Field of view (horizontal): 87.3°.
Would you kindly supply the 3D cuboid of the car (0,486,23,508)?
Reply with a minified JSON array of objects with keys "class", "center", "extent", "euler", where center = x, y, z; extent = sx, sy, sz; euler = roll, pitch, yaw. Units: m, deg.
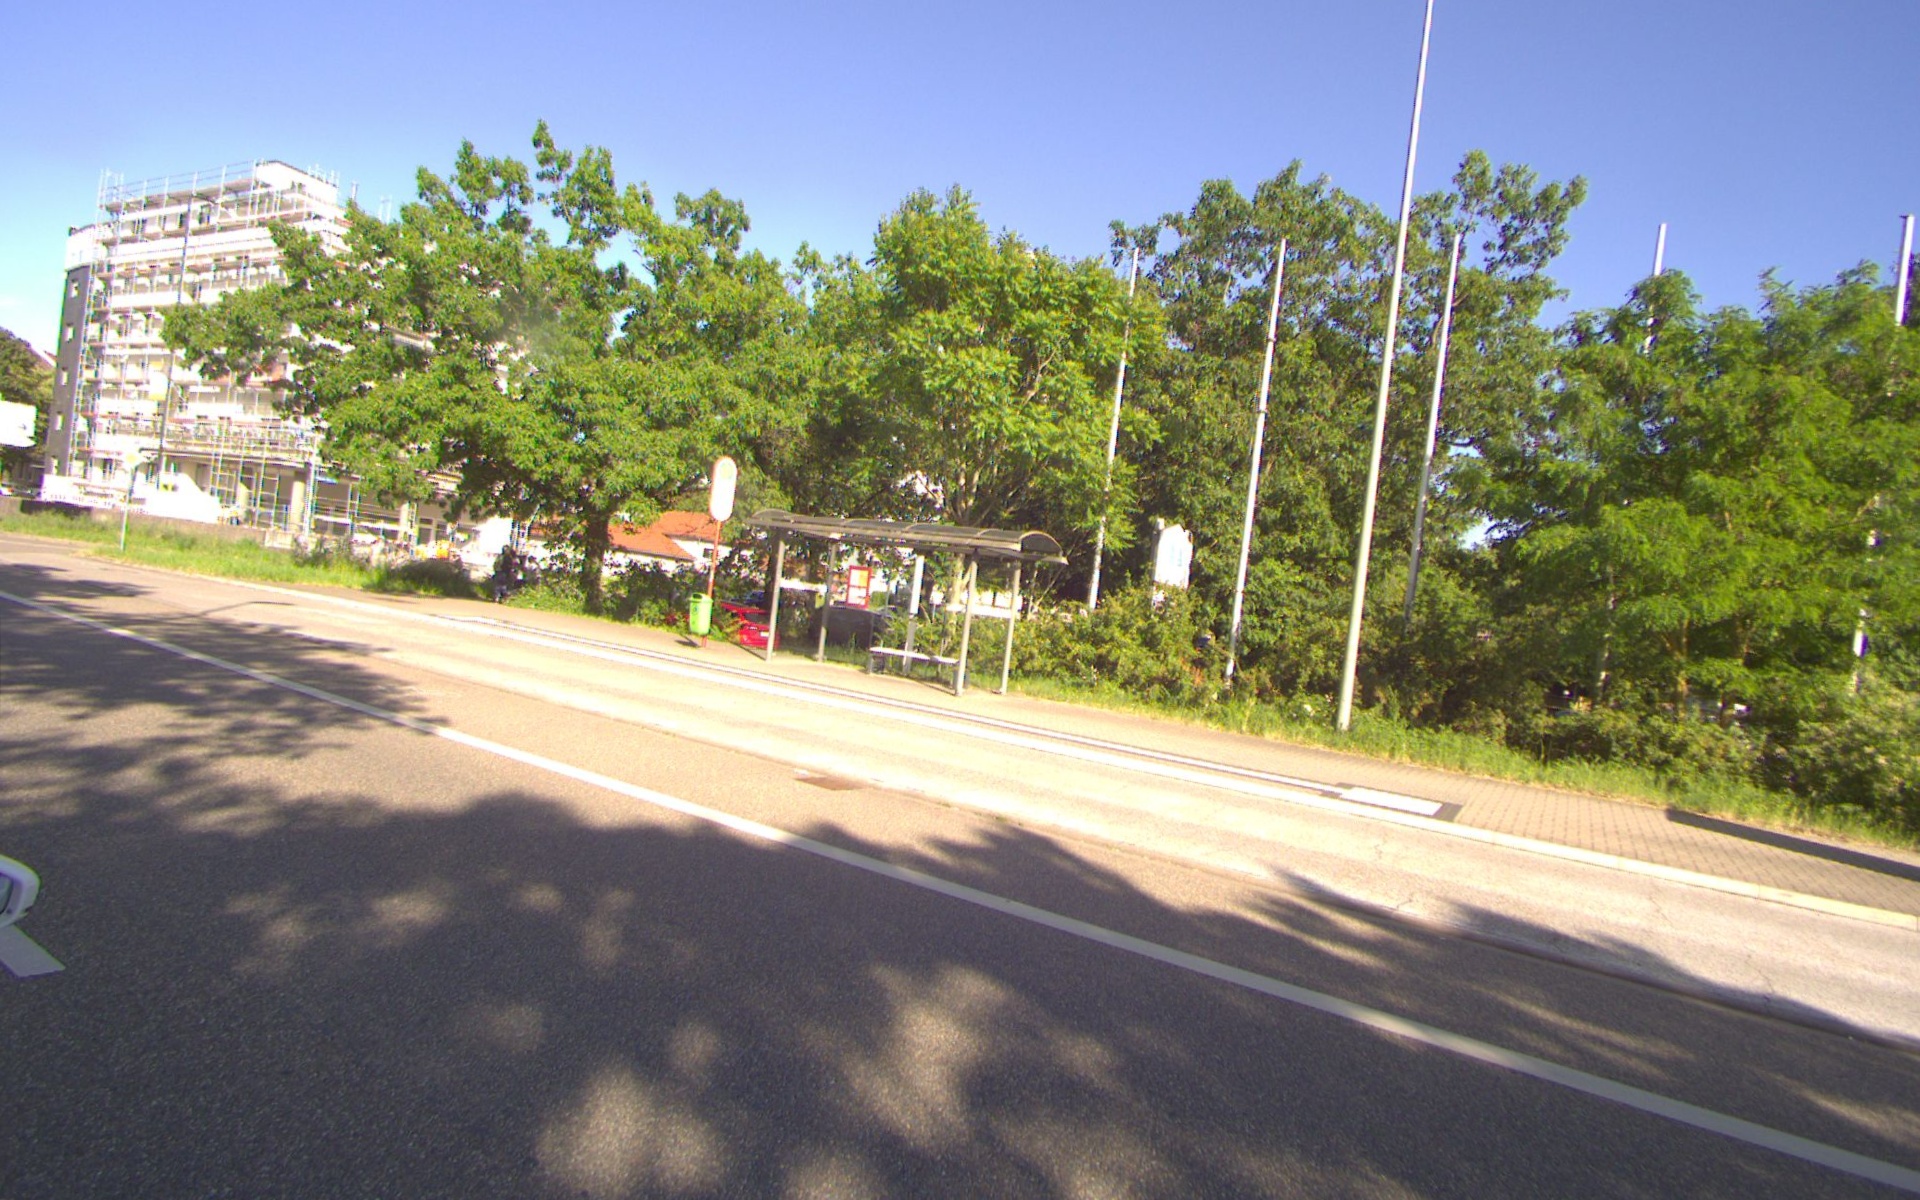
[{"class":"car","center":[-66.605,-7.214,70.163],"extent":[1.521,1.330,3.250],"euler":[7,0,-40]}]

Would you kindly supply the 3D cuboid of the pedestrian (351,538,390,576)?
[{"class":"pedestrian","center":[-25.416,-1.861,43.374],"extent":[0.948,1.465,0.895],"euler":[7,0,17]}]

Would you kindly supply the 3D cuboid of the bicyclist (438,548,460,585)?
[{"class":"bicyclist","center":[-22.233,-1.471,43.743],"extent":[0.582,1.511,0.543],"euler":[7,1,-43]}]

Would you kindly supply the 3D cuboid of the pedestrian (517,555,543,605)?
[{"class":"pedestrian","center":[-13.395,-0.634,31.325],"extent":[0.517,1.465,0.587],"euler":[7,1,-32]}]

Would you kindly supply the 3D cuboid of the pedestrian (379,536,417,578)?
[{"class":"pedestrian","center":[-24.878,-1.913,44.509],"extent":[0.969,1.674,0.892],"euler":[7,0,14]}]

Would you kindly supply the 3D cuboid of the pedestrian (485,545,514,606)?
[{"class":"pedestrian","center":[-12.990,-0.701,28.371],"extent":[0.517,1.632,0.587],"euler":[7,1,-32]}]

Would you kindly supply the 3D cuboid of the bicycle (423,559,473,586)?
[{"class":"bicycle","center":[-22.264,-1.186,43.752],"extent":[1.784,0.956,0.553],"euler":[8,0,-44]}]

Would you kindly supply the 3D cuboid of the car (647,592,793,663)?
[{"class":"car","center":[-6.869,0.792,28.747],"extent":[3.680,1.504,1.755],"euler":[7,0,28]}]

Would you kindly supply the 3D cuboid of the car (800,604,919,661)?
[{"class":"car","center":[-3.579,1.152,35.980],"extent":[3.674,1.504,1.914],"euler":[7,0,13]}]

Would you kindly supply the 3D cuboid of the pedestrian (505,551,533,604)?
[{"class":"pedestrian","center":[-12.776,-0.664,29.150],"extent":[0.517,1.465,0.587],"euler":[7,1,-32]}]
